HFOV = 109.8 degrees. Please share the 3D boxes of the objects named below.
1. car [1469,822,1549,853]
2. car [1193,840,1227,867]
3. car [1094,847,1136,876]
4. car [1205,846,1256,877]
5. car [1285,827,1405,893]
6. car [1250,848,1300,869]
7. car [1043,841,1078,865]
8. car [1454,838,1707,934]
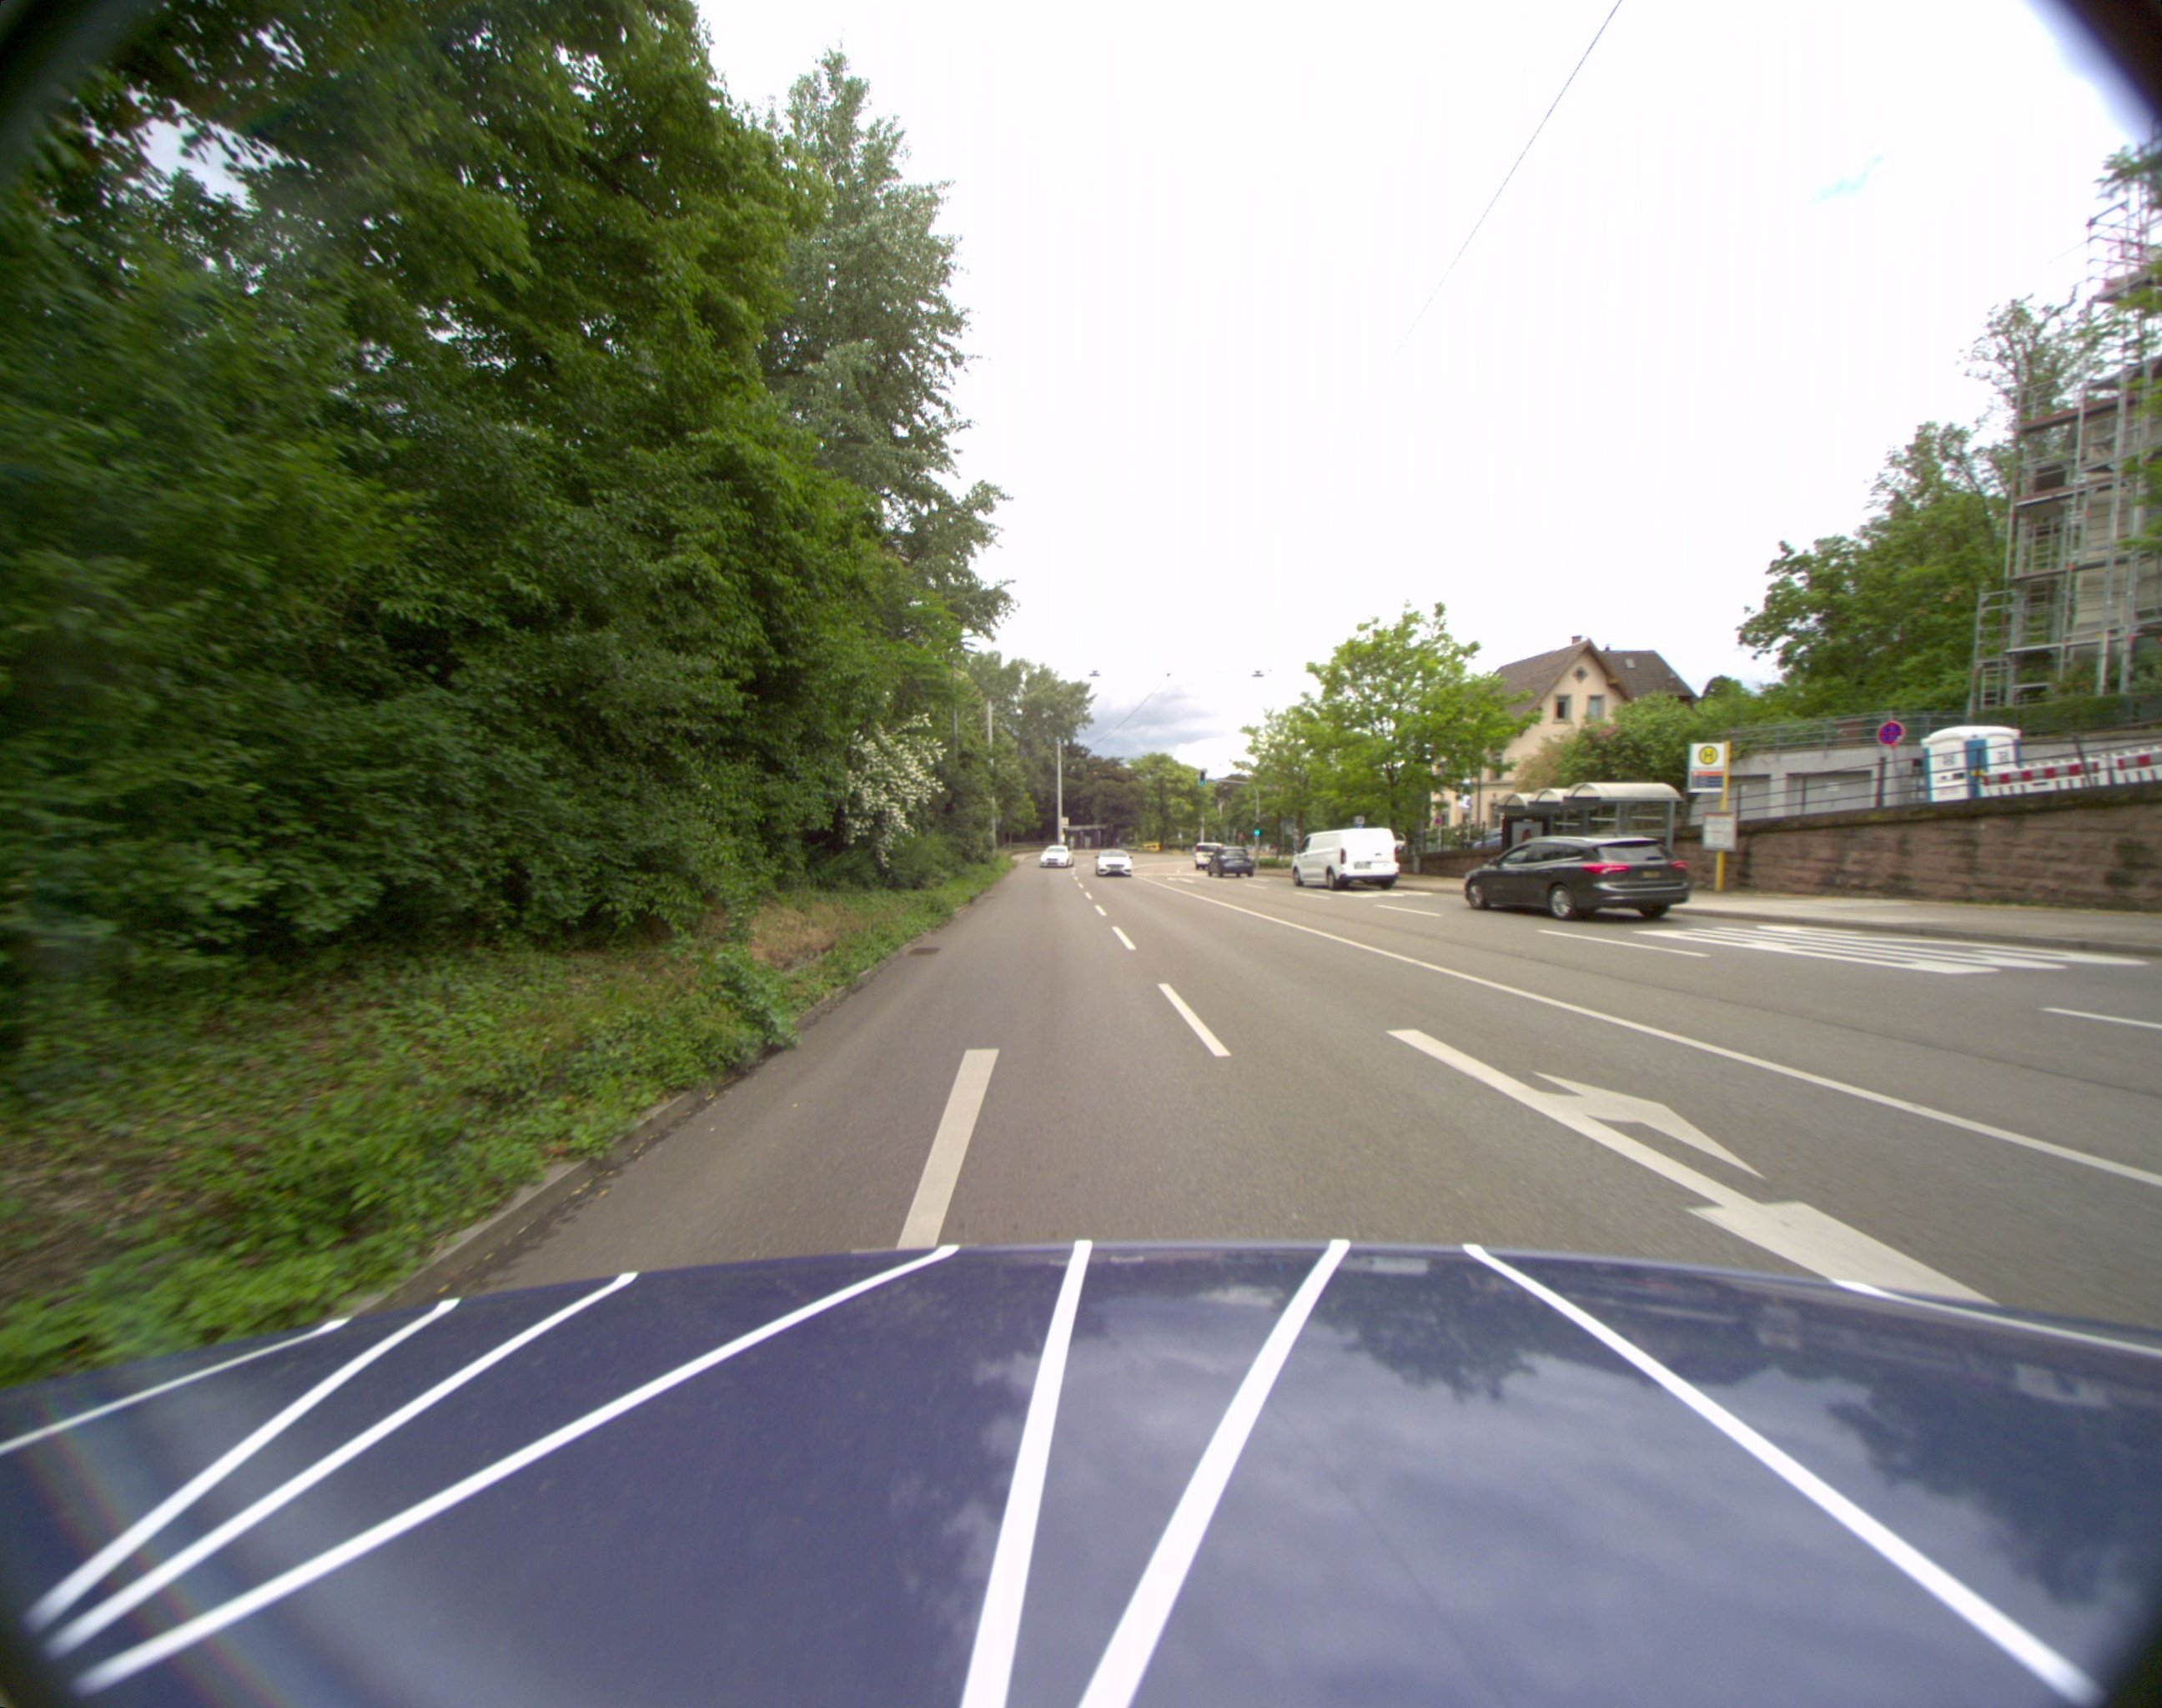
[{"bbox_3d":[20.591,-0.790,36.719,1.709,1.413,3.633,2,1,-2],"label":"car"},{"bbox_3d":[9.258,-0.033,54.283,1.796,1.853,4.856,1,1,16],"label":"car"},{"bbox_3d":[1.760,0.350,41.049,1.917,1.469,4.525,0,1,-2],"label":"car"},{"bbox_3d":[7.614,0.354,39.108,1.699,1.483,3.800,-2,0,-3],"label":"car"},{"bbox_3d":[8.916,0.195,26.247,1.999,2.002,5.423,-2,0,-2],"label":"car"},{"bbox_3d":[13.765,0.315,54.085,3.133,1.464,1.548,1,1,-1],"label":"car"},{"bbox_3d":[-1.390,-0.108,52.789,1.916,1.543,4.526,1,2,5],"label":"car"},{"bbox_3d":[9.067,0.501,14.363,1.661,1.464,4.611,-2,0,-1],"label":"car"}]
